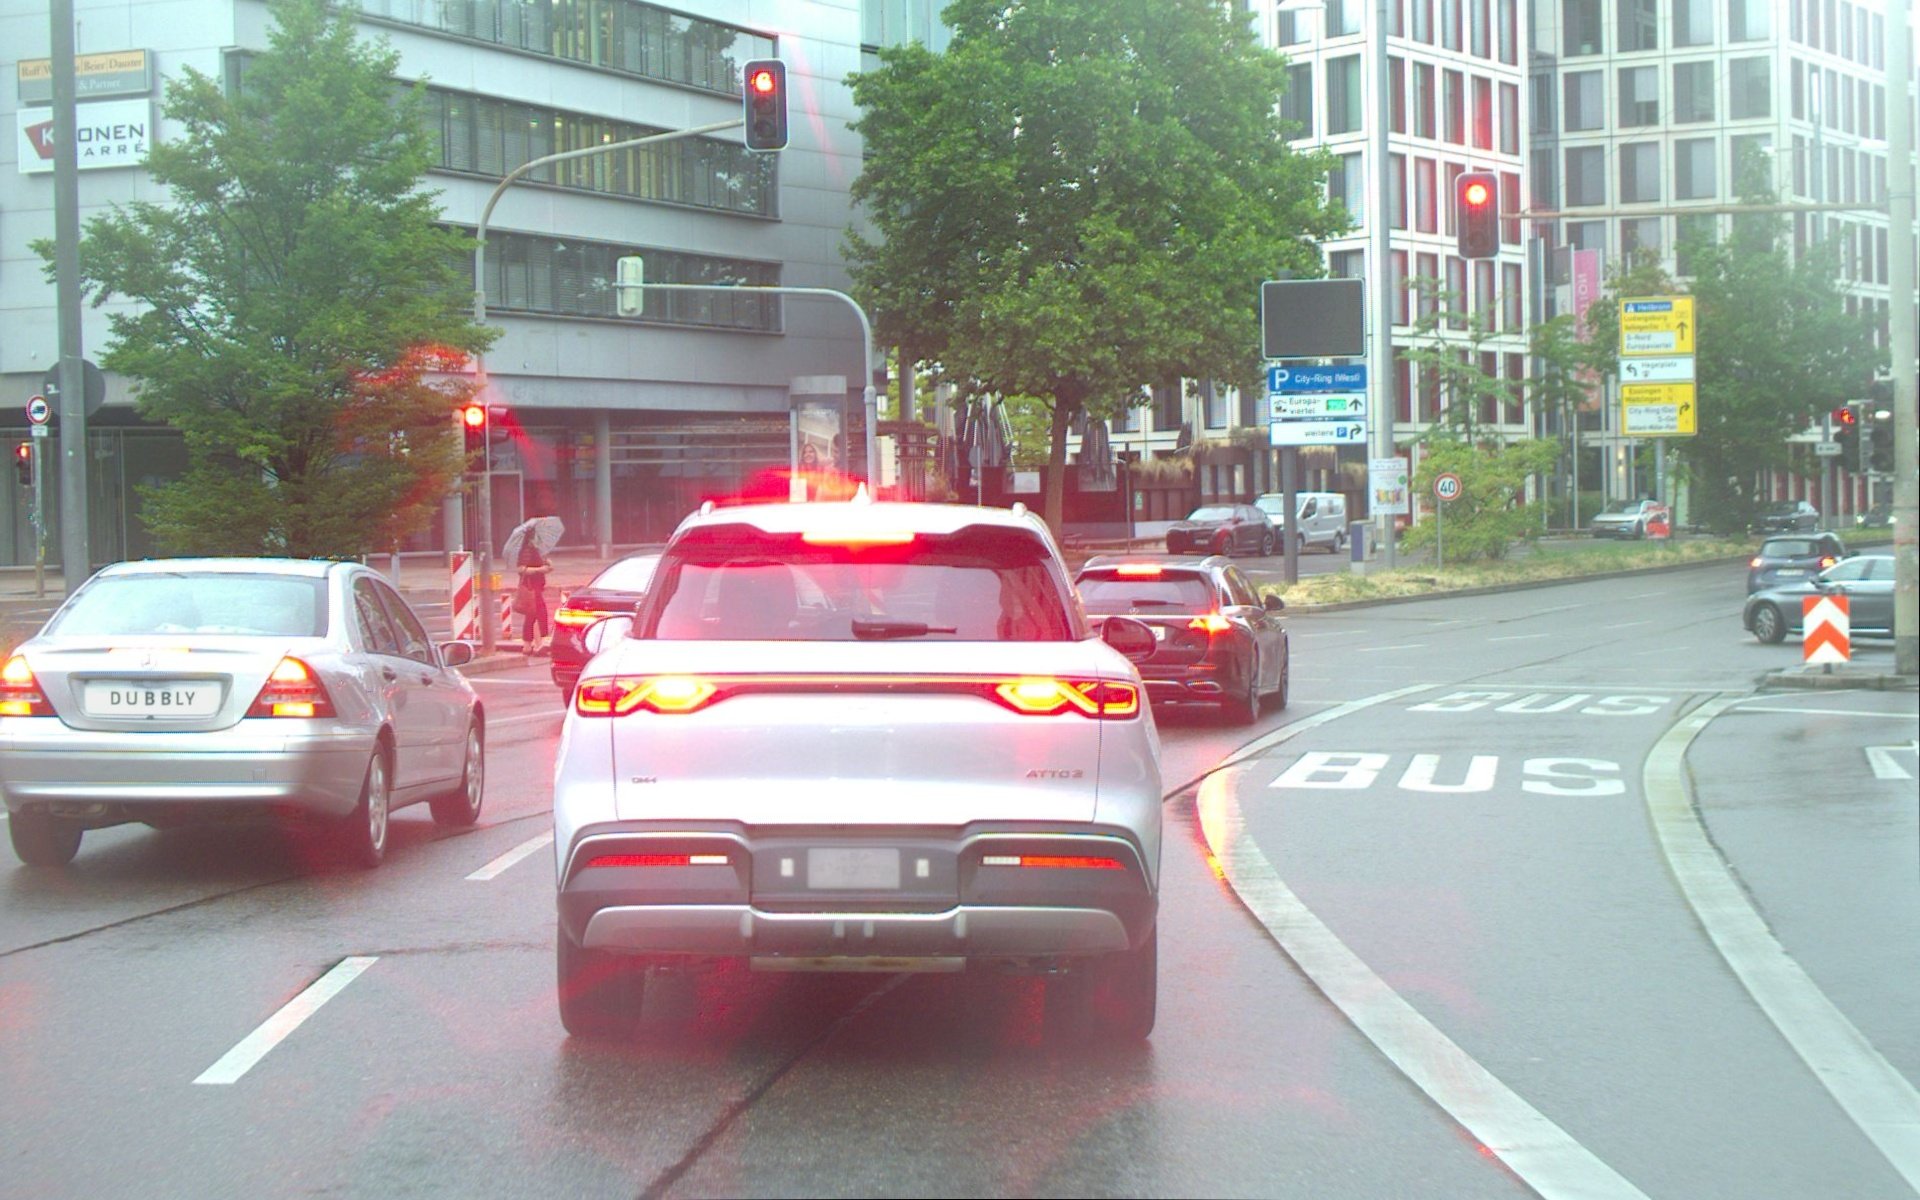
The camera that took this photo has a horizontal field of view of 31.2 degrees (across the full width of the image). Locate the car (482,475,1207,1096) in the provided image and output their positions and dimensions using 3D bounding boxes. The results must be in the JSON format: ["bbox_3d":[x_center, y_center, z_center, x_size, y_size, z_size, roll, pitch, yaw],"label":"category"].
[{"bbox_3d":[-0.367,0.464,11.741,1.993,1.703,4.483,0,1,-1],"label":"car"}]

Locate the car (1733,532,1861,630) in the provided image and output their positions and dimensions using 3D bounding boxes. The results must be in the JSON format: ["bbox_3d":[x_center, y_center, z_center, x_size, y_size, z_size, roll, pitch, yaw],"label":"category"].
[{"bbox_3d":[16.107,-0.403,66.026,2.048,1.759,4.353,1,2,18],"label":"car"}]

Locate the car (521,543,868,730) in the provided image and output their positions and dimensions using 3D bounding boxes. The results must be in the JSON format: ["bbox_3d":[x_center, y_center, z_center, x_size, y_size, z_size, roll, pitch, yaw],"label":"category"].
[{"bbox_3d":[-2.278,0.267,30.584,1.956,1.525,3.998,0,1,13],"label":"car"}]

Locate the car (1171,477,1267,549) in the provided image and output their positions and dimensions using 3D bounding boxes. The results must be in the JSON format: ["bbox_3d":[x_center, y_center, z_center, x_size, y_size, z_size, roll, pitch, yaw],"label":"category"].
[{"bbox_3d":[7.958,-2.642,105.218,1.739,2.154,4.489,1,1,20],"label":"car"}]

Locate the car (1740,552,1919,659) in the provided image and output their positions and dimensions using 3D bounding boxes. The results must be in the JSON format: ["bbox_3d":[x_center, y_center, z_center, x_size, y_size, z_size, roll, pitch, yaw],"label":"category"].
[{"bbox_3d":[14.222,0.078,52.343,1.910,1.505,4.356,0,2,-36],"label":"car"}]

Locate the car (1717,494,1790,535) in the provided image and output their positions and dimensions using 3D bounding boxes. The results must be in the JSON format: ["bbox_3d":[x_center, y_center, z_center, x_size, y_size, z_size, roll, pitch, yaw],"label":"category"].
[{"bbox_3d":[35.074,-3.793,151.892,1.997,1.700,4.302,1,3,29],"label":"car"}]

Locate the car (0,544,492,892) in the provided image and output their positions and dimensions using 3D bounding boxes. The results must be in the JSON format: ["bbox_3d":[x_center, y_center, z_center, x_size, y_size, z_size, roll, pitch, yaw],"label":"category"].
[{"bbox_3d":[-3.482,0.481,17.005,1.682,1.481,4.196,0,1,1],"label":"car"}]

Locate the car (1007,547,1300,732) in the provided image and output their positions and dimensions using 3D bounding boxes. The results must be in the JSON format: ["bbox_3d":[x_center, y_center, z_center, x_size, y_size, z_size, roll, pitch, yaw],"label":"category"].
[{"bbox_3d":[1.814,0.295,30.895,1.956,1.525,3.998,0,1,13],"label":"car"}]

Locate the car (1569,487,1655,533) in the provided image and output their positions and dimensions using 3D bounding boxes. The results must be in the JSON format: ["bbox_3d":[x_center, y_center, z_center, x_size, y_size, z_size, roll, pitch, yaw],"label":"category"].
[{"bbox_3d":[25.336,-3.512,133.552,1.997,1.700,4.302,1,3,29],"label":"car"}]

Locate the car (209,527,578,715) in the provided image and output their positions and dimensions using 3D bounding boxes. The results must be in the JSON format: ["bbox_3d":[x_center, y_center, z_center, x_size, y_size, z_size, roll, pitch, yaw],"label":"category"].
[{"bbox_3d":[-5.071,0.138,31.346,1.886,1.590,3.998,0,1,14],"label":"car"}]

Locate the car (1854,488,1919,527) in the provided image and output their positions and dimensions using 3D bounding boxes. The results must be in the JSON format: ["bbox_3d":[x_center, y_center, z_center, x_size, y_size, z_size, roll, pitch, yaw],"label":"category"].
[{"bbox_3d":[41.890,-4.188,155.193,1.997,1.700,3.994,1,3,29],"label":"car"}]

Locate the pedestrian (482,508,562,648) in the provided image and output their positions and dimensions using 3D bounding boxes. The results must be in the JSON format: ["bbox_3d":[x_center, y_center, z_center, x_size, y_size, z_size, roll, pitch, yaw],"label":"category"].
[{"bbox_3d":[-5.477,-0.281,43.000,0.922,1.732,0.730,0,1,-2],"label":"pedestrian"}]
